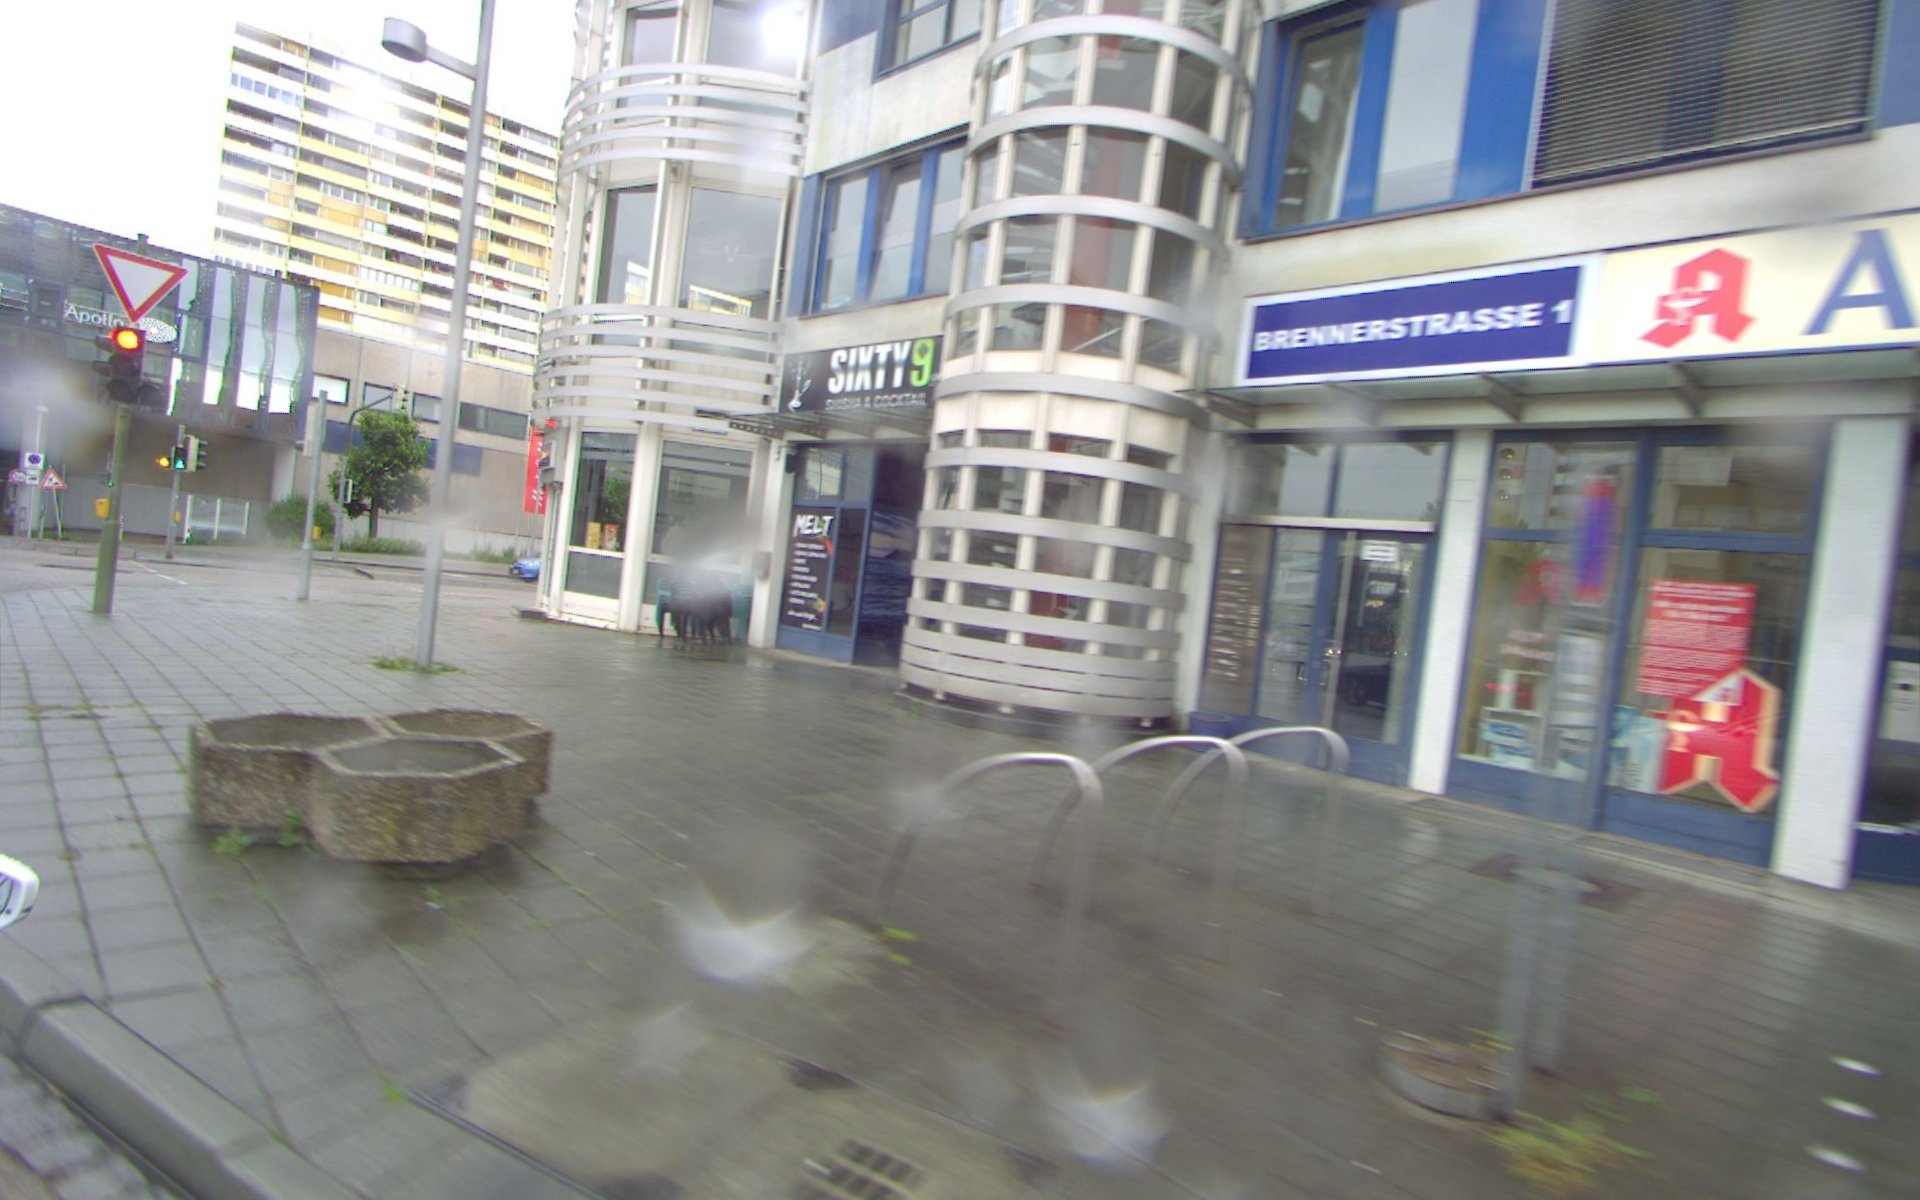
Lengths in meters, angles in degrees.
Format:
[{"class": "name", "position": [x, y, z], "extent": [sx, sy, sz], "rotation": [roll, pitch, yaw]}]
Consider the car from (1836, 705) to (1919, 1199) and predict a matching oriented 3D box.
[{"class": "car", "position": [3.900, 1.151, 1.115], "extent": [3.927, 1.506, 1.700], "rotation": [7, 4, 24]}]

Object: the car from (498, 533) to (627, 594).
[{"class": "car", "position": [-14.993, -1.363, 38.040], "extent": [3.973, 1.738, 1.976], "rotation": [6, 1, -43]}]
